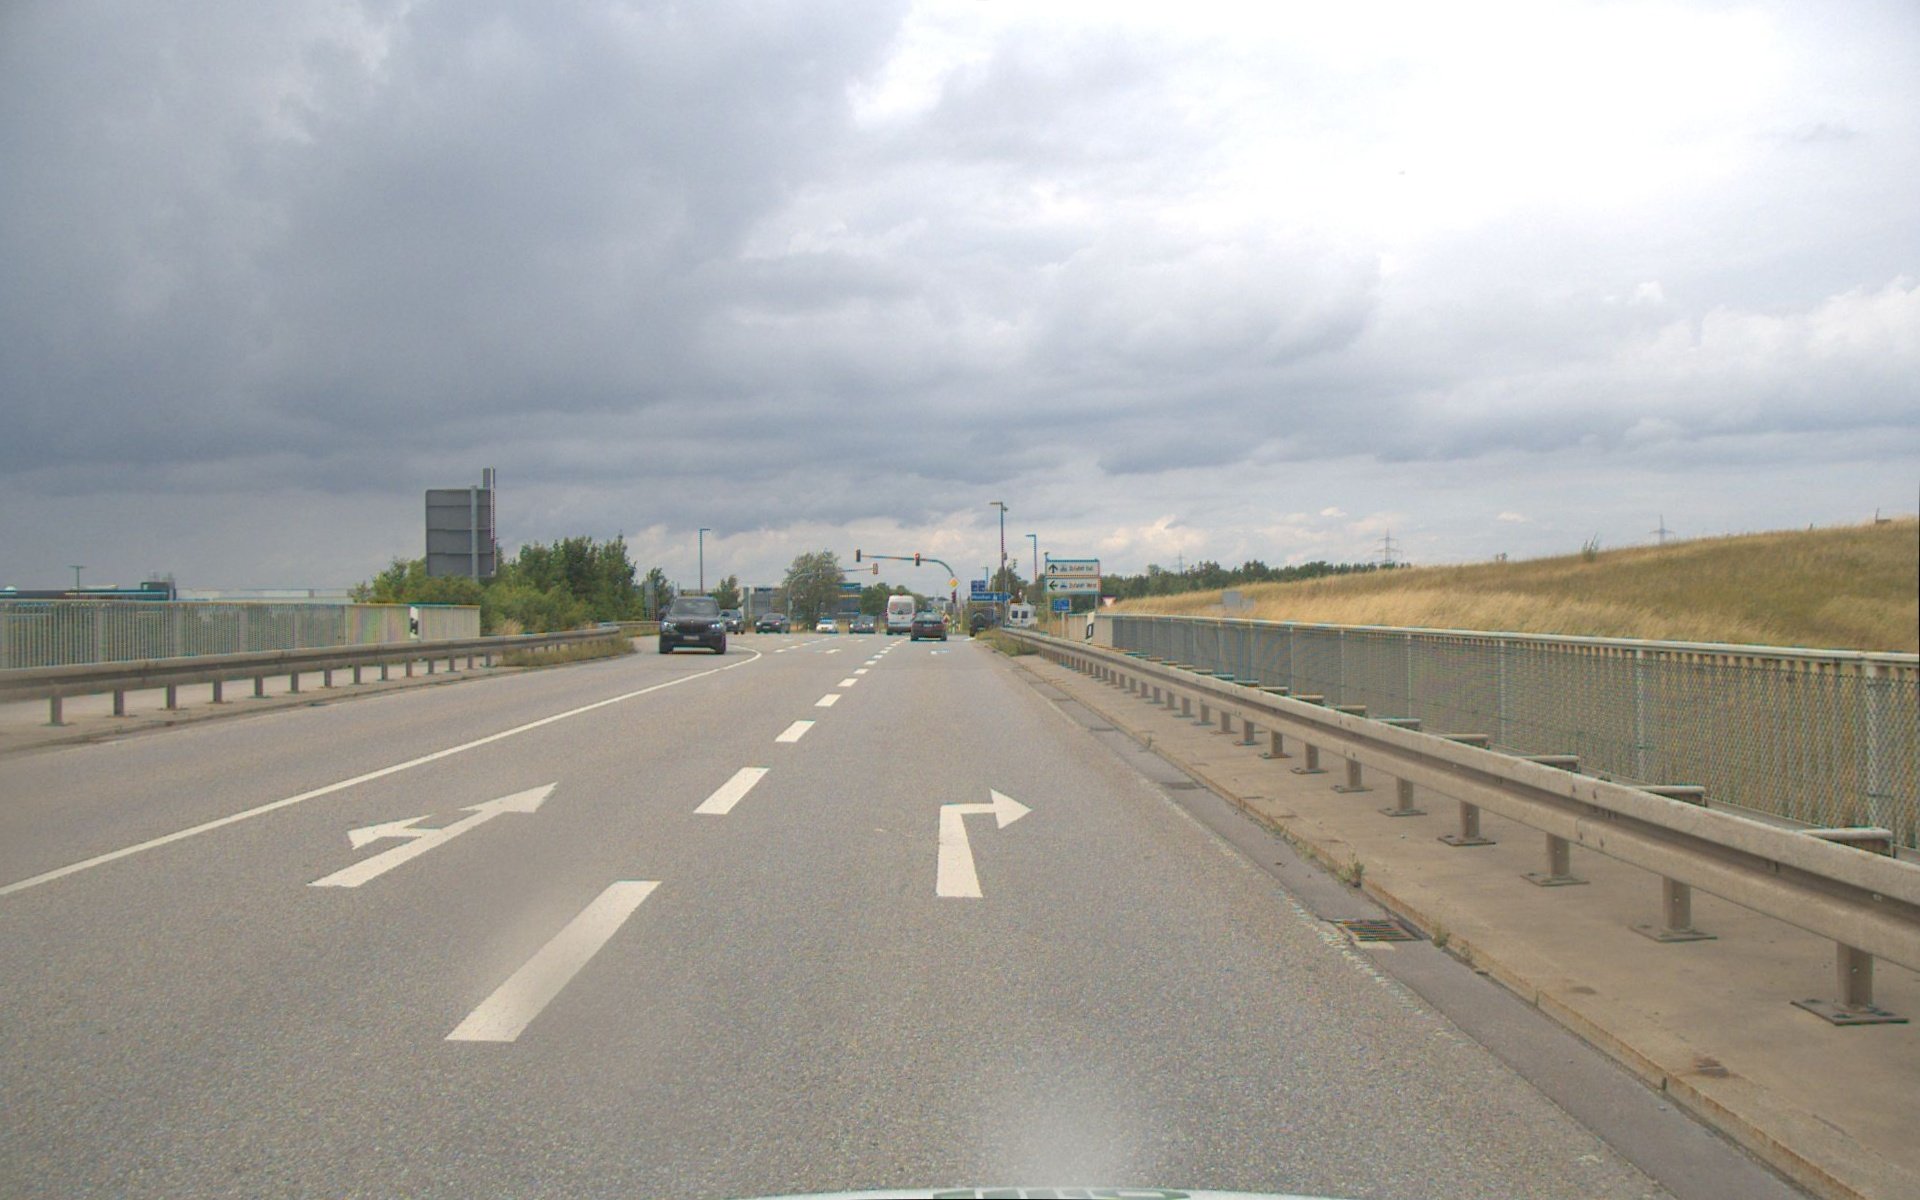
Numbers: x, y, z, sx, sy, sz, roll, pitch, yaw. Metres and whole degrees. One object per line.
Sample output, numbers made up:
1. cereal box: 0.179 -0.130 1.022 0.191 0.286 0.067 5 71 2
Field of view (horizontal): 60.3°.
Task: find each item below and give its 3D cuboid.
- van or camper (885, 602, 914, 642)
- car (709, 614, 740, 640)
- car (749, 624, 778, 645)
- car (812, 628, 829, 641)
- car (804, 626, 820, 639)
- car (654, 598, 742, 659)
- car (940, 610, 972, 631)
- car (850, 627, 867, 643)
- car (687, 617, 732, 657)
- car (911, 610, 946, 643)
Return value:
1. van or camper: -4.098 1.473 112.120 1.838 2.626 3.999 1 -1 -1
2. car: -14.811 1.719 104.317 1.551 1.585 4.143 1 -1 -3
3. car: -14.272 2.509 120.494 1.772 1.392 4.783 0 0 -3
4. car: -14.466 3.554 171.468 1.450 1.305 3.533 0 -1 0
5. car: -15.987 3.504 179.025 1.450 1.305 3.533 0 -1 0
6. car: -8.070 0.884 51.292 1.953 1.762 4.761 1 -1 0
7. car: -0.268 1.580 126.456 1.646 1.571 3.618 -1 -1 13
8. car: -10.291 3.545 168.217 1.659 1.392 3.942 0 2 -3
9. car: -9.985 1.475 66.016 1.679 1.513 4.271 2 -1 -8
10. car: -1.497 1.272 79.184 1.486 1.511 3.616 0 -1 2
